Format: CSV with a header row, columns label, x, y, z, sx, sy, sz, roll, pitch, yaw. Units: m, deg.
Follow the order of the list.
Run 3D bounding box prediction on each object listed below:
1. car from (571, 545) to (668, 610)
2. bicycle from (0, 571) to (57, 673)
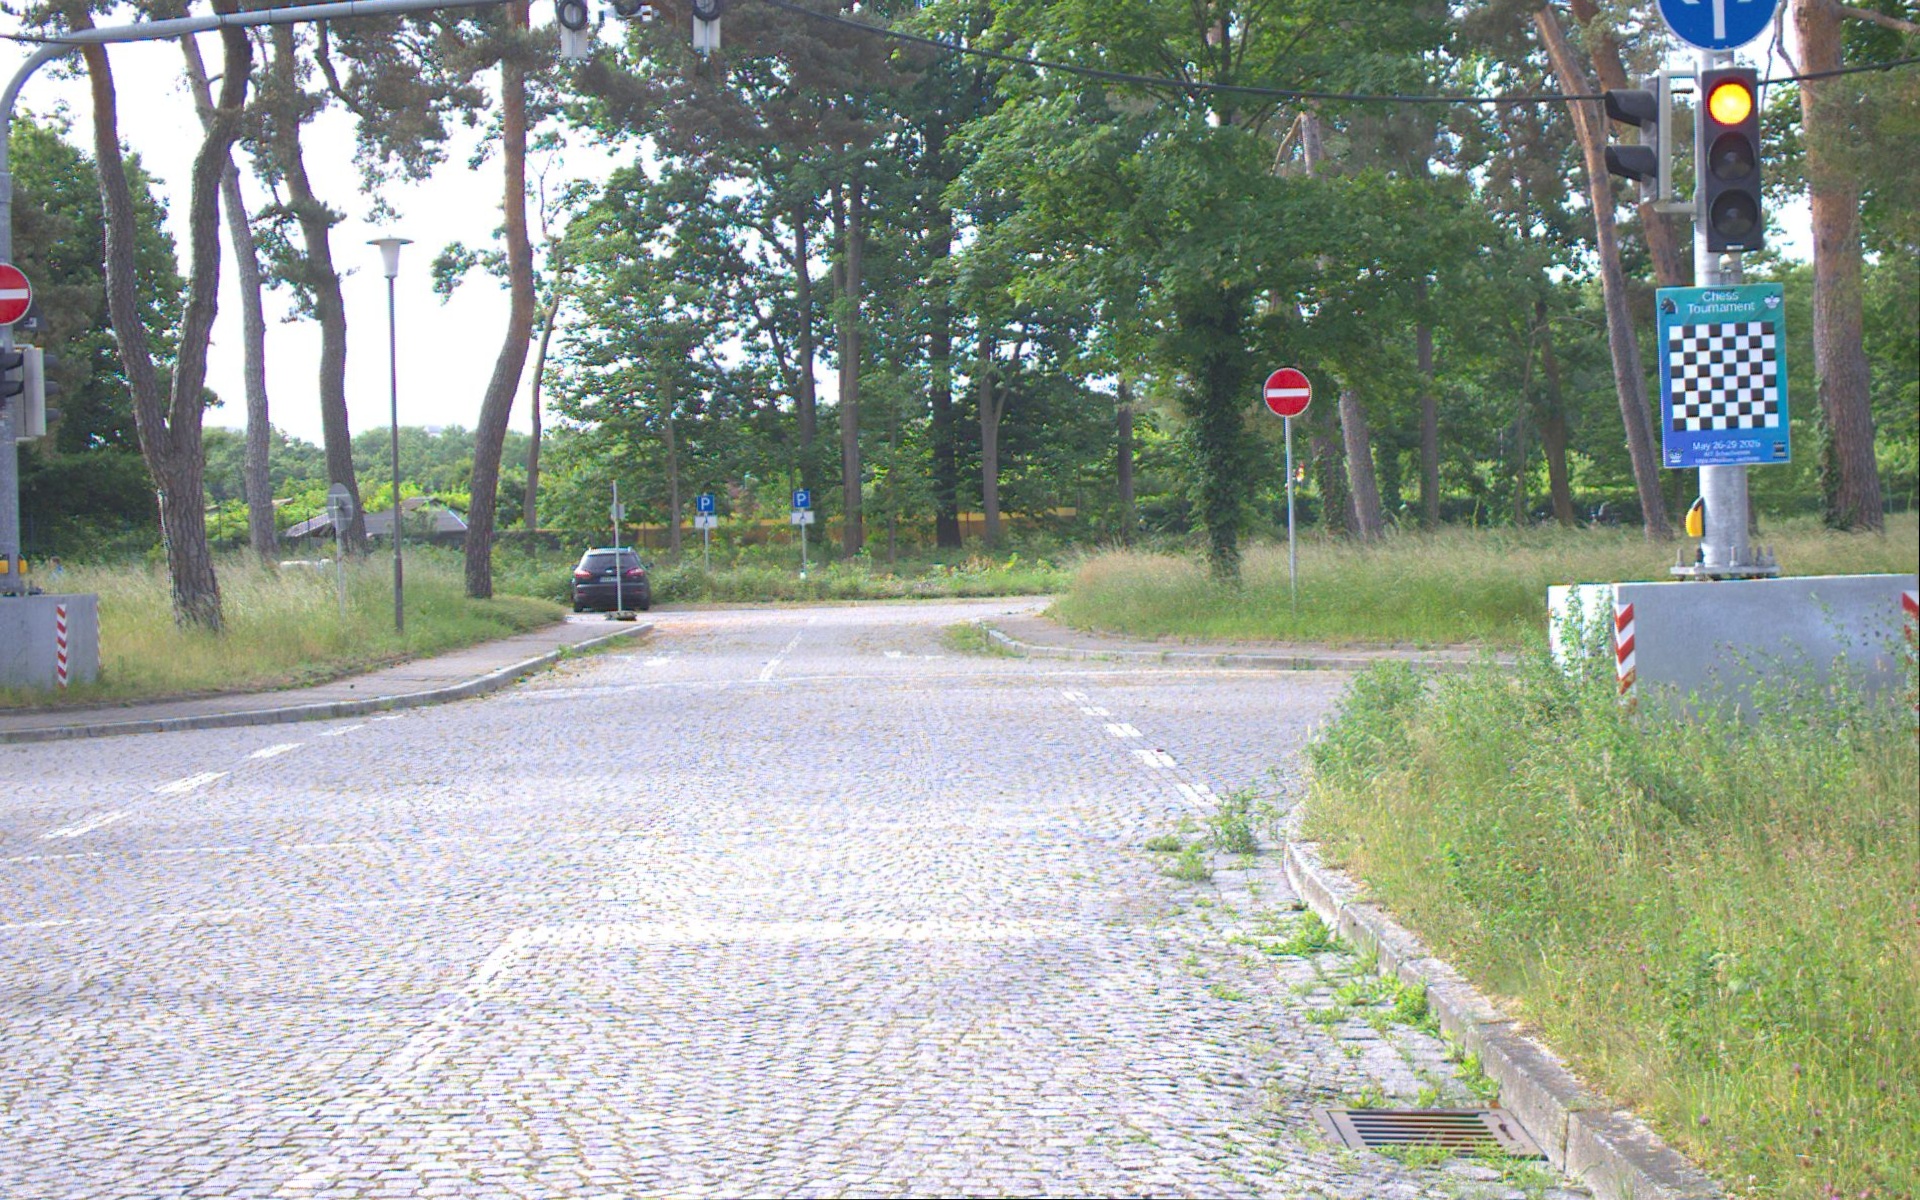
label,x,y,z,sx,sy,sz,roll,pitch,yaw
car,-8.286,-0.570,83.936,1.993,1.503,4.000,0,1,0
bicycle,-9.726,0.229,34.029,1.459,0.993,0.452,-2,1,-8
